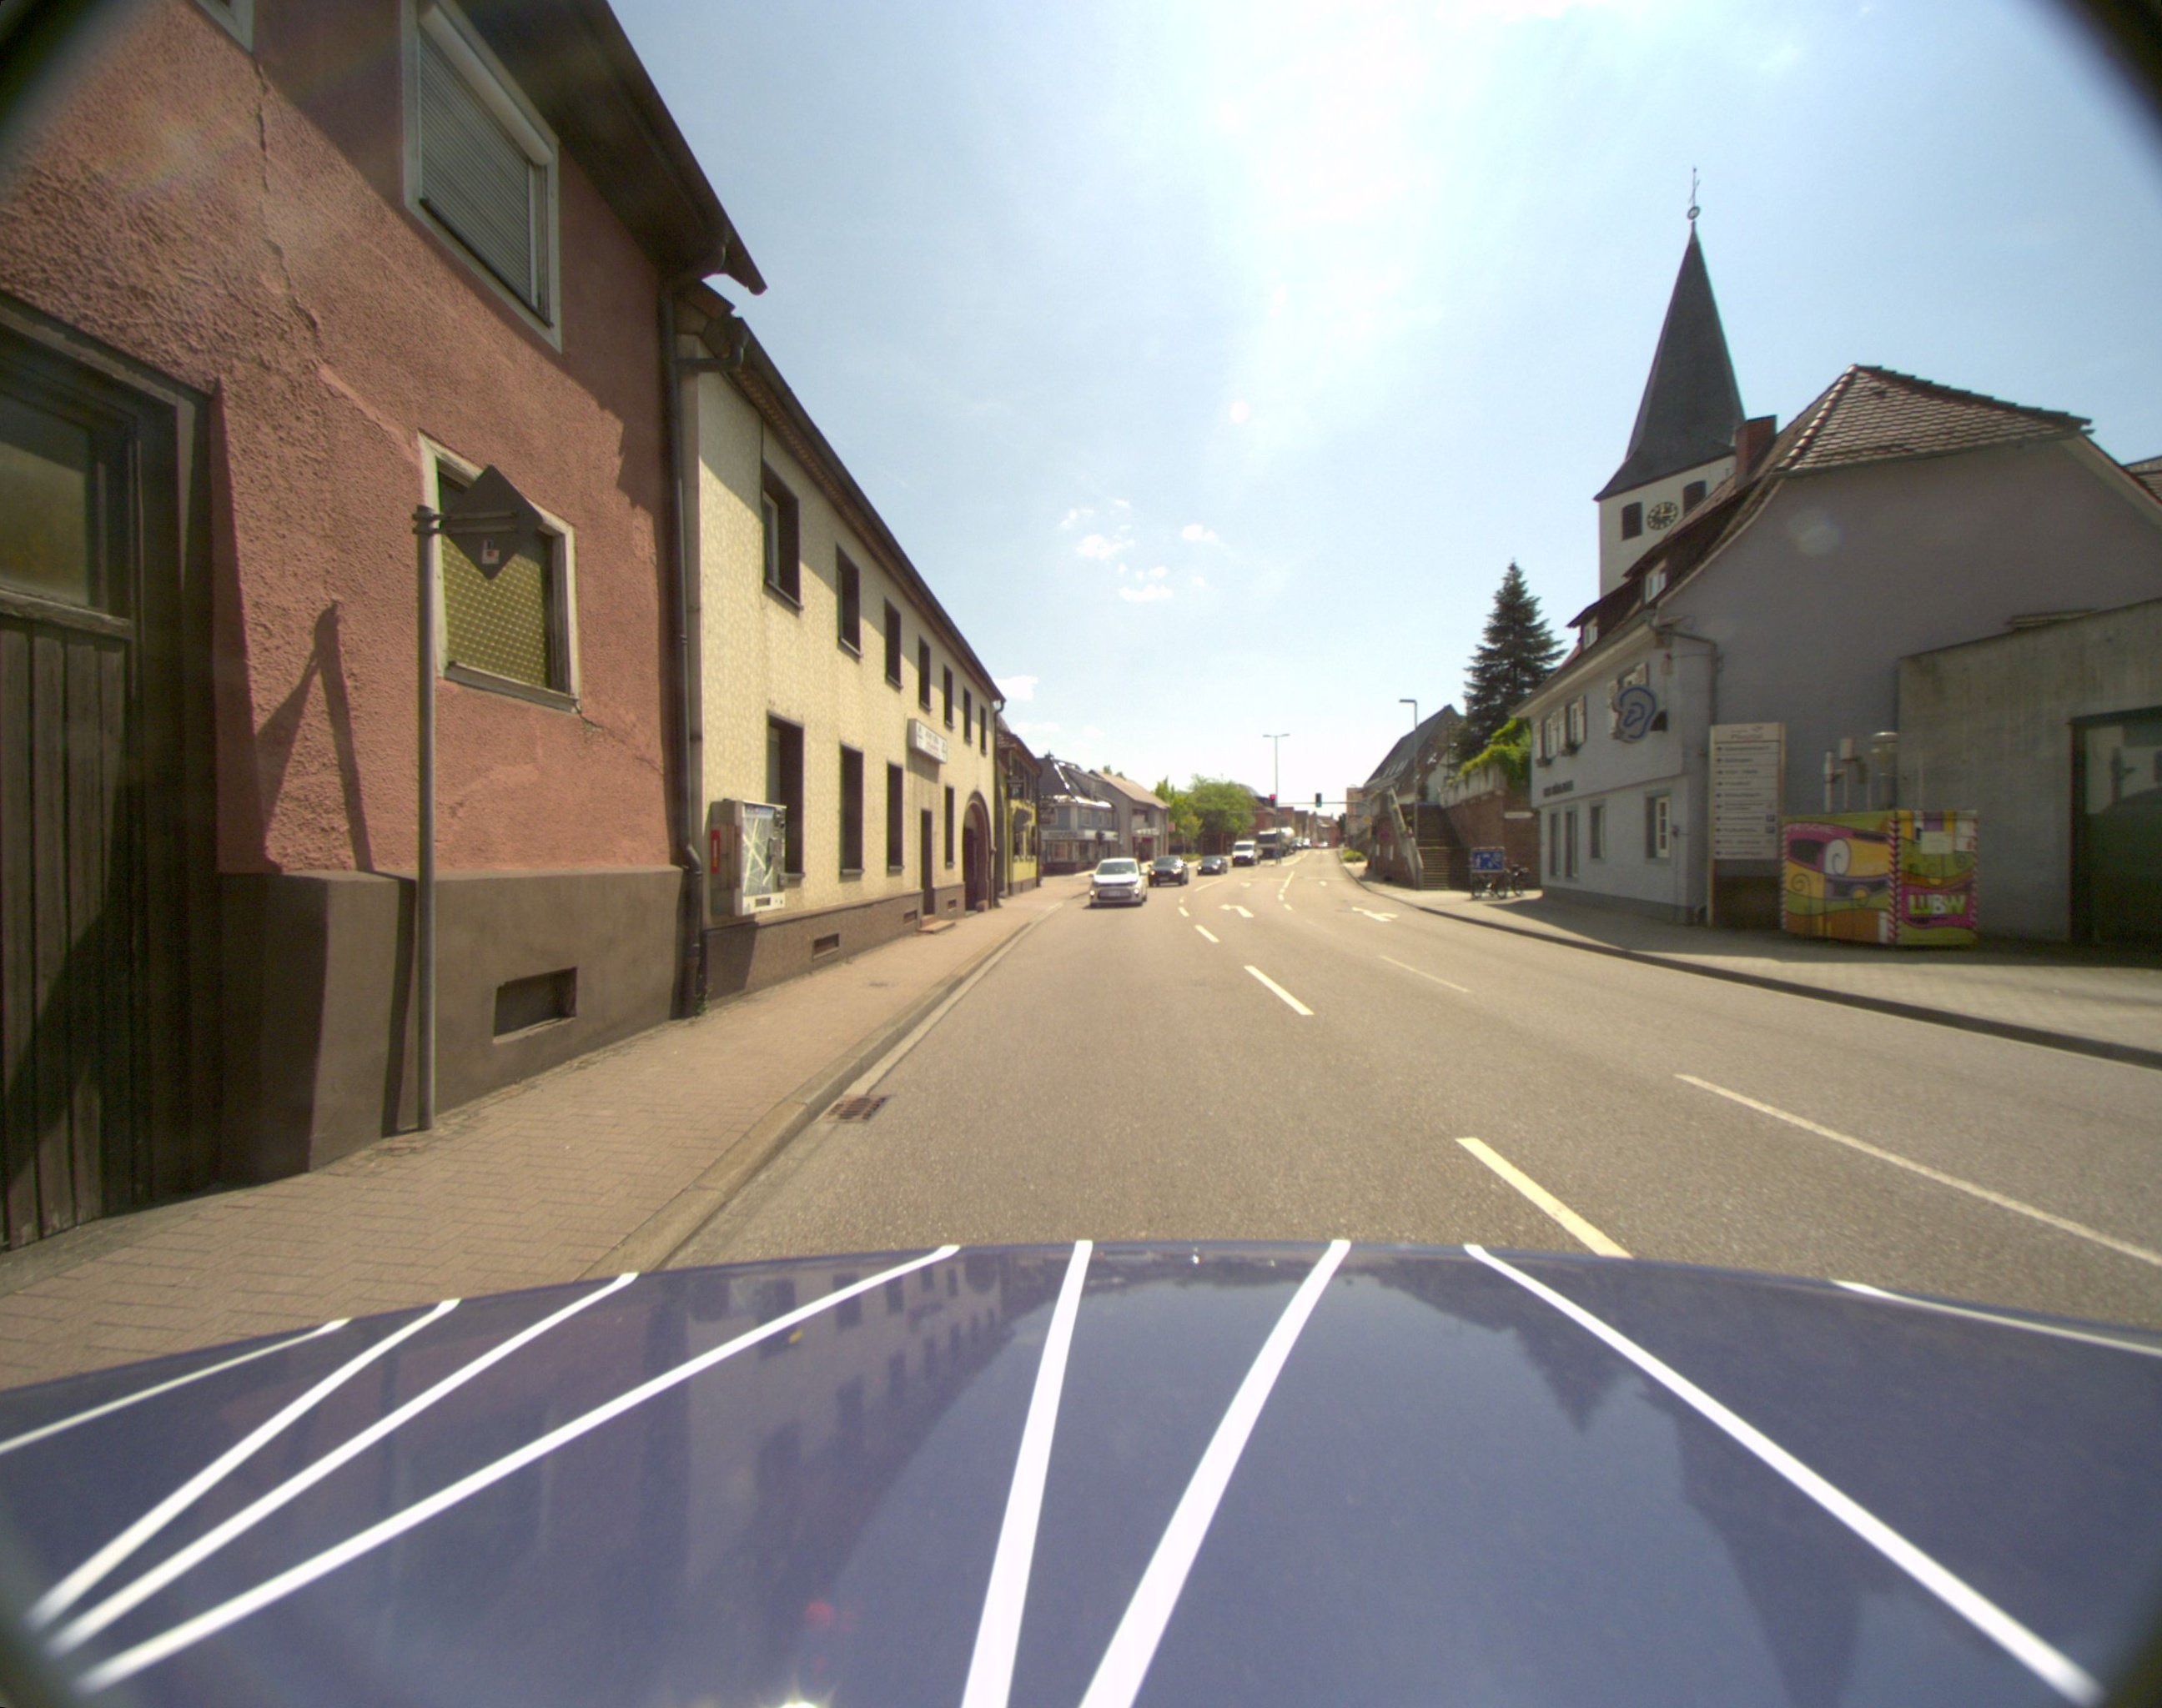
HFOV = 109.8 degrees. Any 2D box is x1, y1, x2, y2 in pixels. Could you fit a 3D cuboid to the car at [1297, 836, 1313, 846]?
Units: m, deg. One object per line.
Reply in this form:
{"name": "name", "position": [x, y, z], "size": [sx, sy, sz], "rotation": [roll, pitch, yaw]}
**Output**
{"name": "car", "position": [40.442, -2.300, 137.104], "size": [2.007, 1.621, 4.586], "rotation": [0, 0, 27]}

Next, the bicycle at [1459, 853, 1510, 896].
{"name": "bicycle", "position": [12.671, 0.642, 23.852], "size": [1.834, 1.241, 0.577], "rotation": [-2, -1, -35]}

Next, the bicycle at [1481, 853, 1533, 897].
{"name": "bicycle", "position": [13.101, 0.636, 23.362], "size": [1.834, 1.241, 0.577], "rotation": [-2, -1, -35]}

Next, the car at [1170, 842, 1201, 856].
{"name": "car", "position": [13.788, -0.707, 99.953], "size": [3.755, 1.701, 1.727], "rotation": [-2, 1, 16]}

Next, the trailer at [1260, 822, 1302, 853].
{"name": "trailer", "position": [24.405, -1.917, 92.295], "size": [2.832, 3.549, 10.985], "rotation": [0, 0, 25]}

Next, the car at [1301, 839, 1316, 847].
{"name": "car", "position": [44.577, -2.163, 148.775], "size": [2.008, 1.621, 4.586], "rotation": [0, 0, 26]}

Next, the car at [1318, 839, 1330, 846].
{"name": "car", "position": [56.323, -2.697, 176.035], "size": [2.007, 1.621, 4.586], "rotation": [0, 0, 28]}

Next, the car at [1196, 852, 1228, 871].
{"name": "car", "position": [10.121, 0.565, 58.415], "size": [1.926, 1.358, 4.308], "rotation": [-1, 0, 17]}

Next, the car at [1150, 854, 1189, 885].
{"name": "car", "position": [4.875, 0.797, 41.382], "size": [1.723, 1.541, 4.307], "rotation": [-1, 0, 12]}

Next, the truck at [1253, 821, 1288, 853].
{"name": "truck", "position": [21.515, -1.844, 86.208], "size": [2.843, 3.549, 5.478], "rotation": [0, 0, 25]}

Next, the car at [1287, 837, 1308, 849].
{"name": "car", "position": [30.658, -1.584, 107.484], "size": [2.007, 1.621, 4.586], "rotation": [0, 0, 27]}

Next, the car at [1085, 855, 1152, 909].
{"name": "car", "position": [1.285, 0.825, 24.428], "size": [1.723, 1.541, 4.306], "rotation": [-1, 0, 8]}

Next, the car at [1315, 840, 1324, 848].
{"name": "car", "position": [58.345, -2.474, 185.878], "size": [1.763, 1.775, 4.006], "rotation": [-1, 0, 20]}

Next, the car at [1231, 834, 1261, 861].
{"name": "car", "position": [15.867, -0.620, 73.090], "size": [2.172, 2.549, 4.831], "rotation": [0, 0, 20]}
